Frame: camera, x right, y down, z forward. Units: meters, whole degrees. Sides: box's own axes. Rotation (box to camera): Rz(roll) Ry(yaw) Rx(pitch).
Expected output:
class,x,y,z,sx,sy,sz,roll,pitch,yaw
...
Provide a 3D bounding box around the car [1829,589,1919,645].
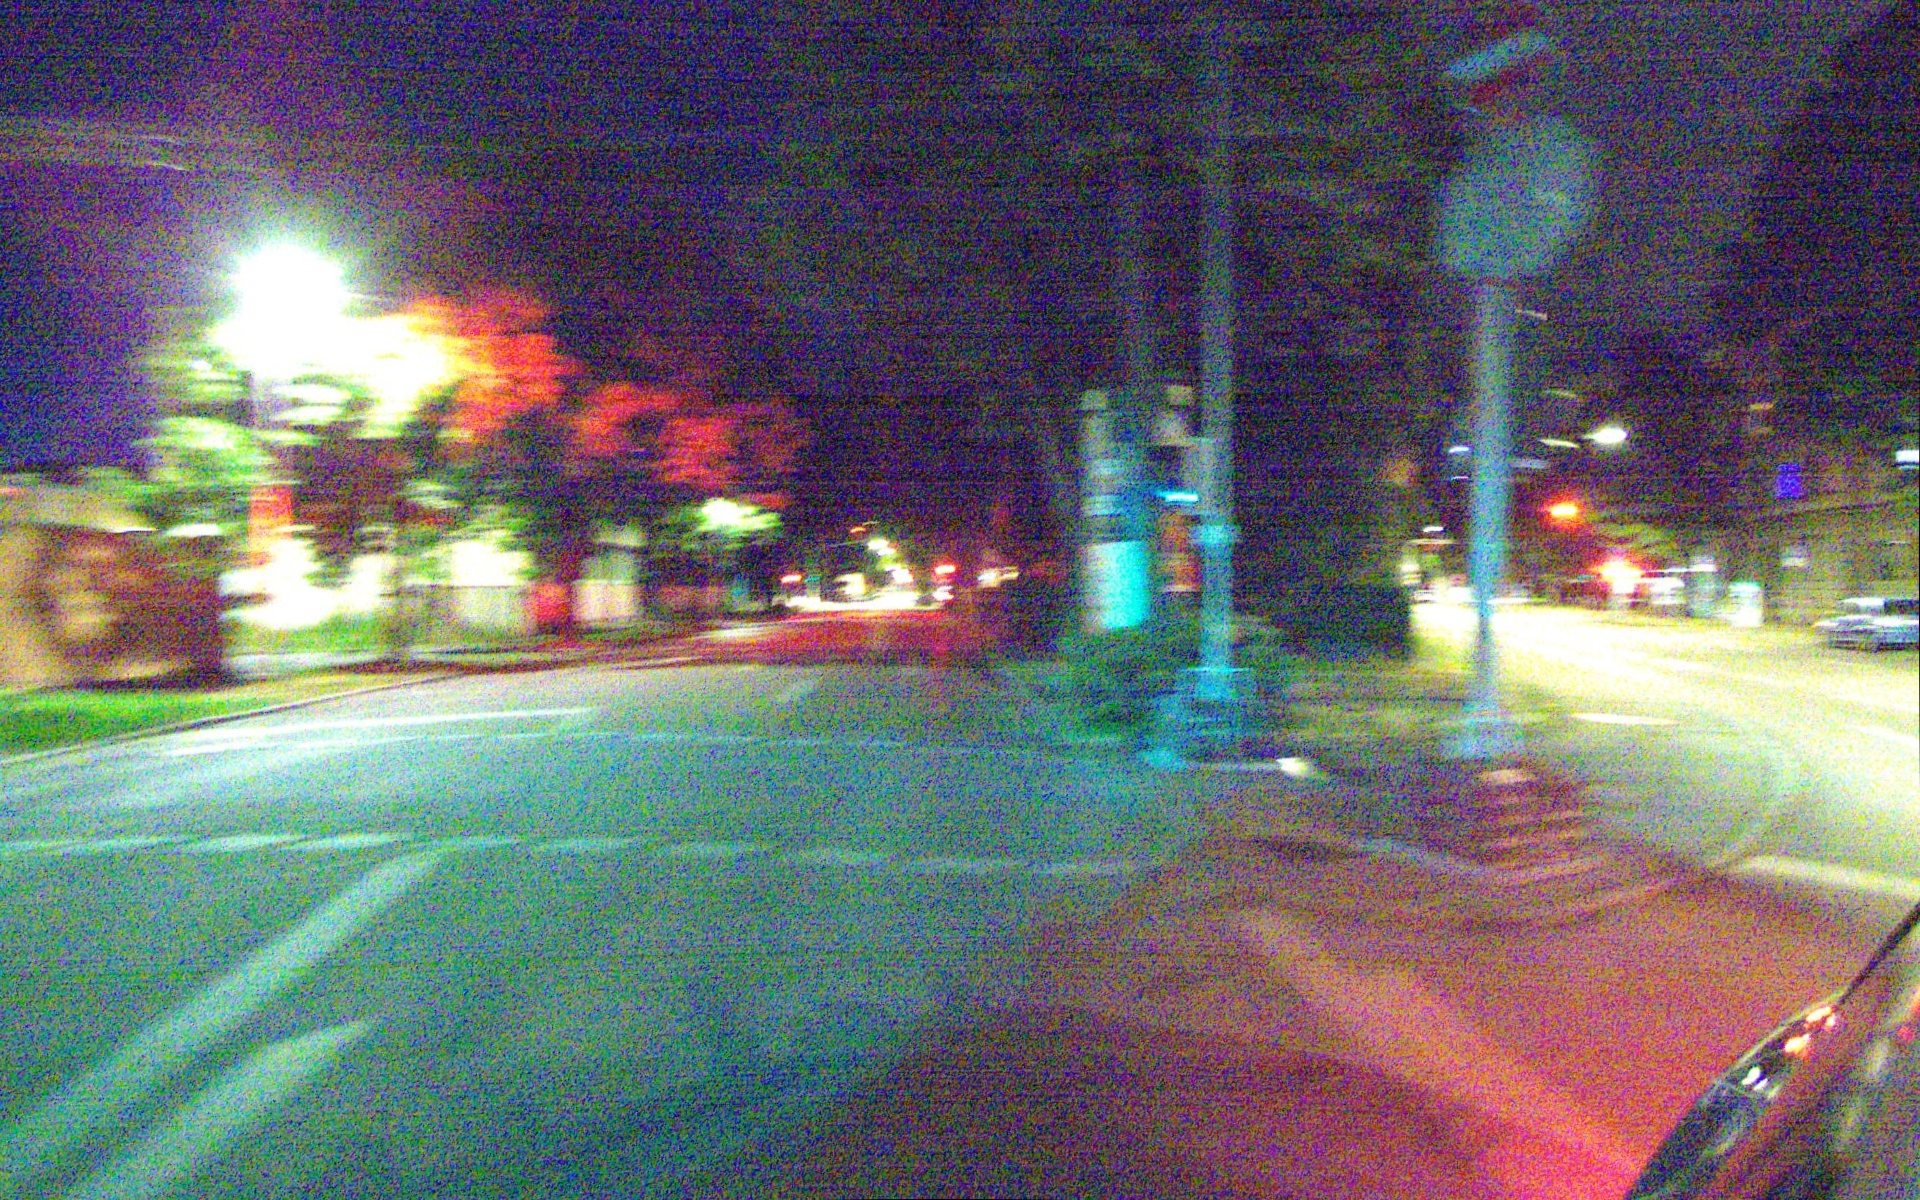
class,x,y,z,sx,sy,sz,roll,pitch,yaw
car,26.463,0.441,28.688,1.614,1.482,3.491,0,1,20
